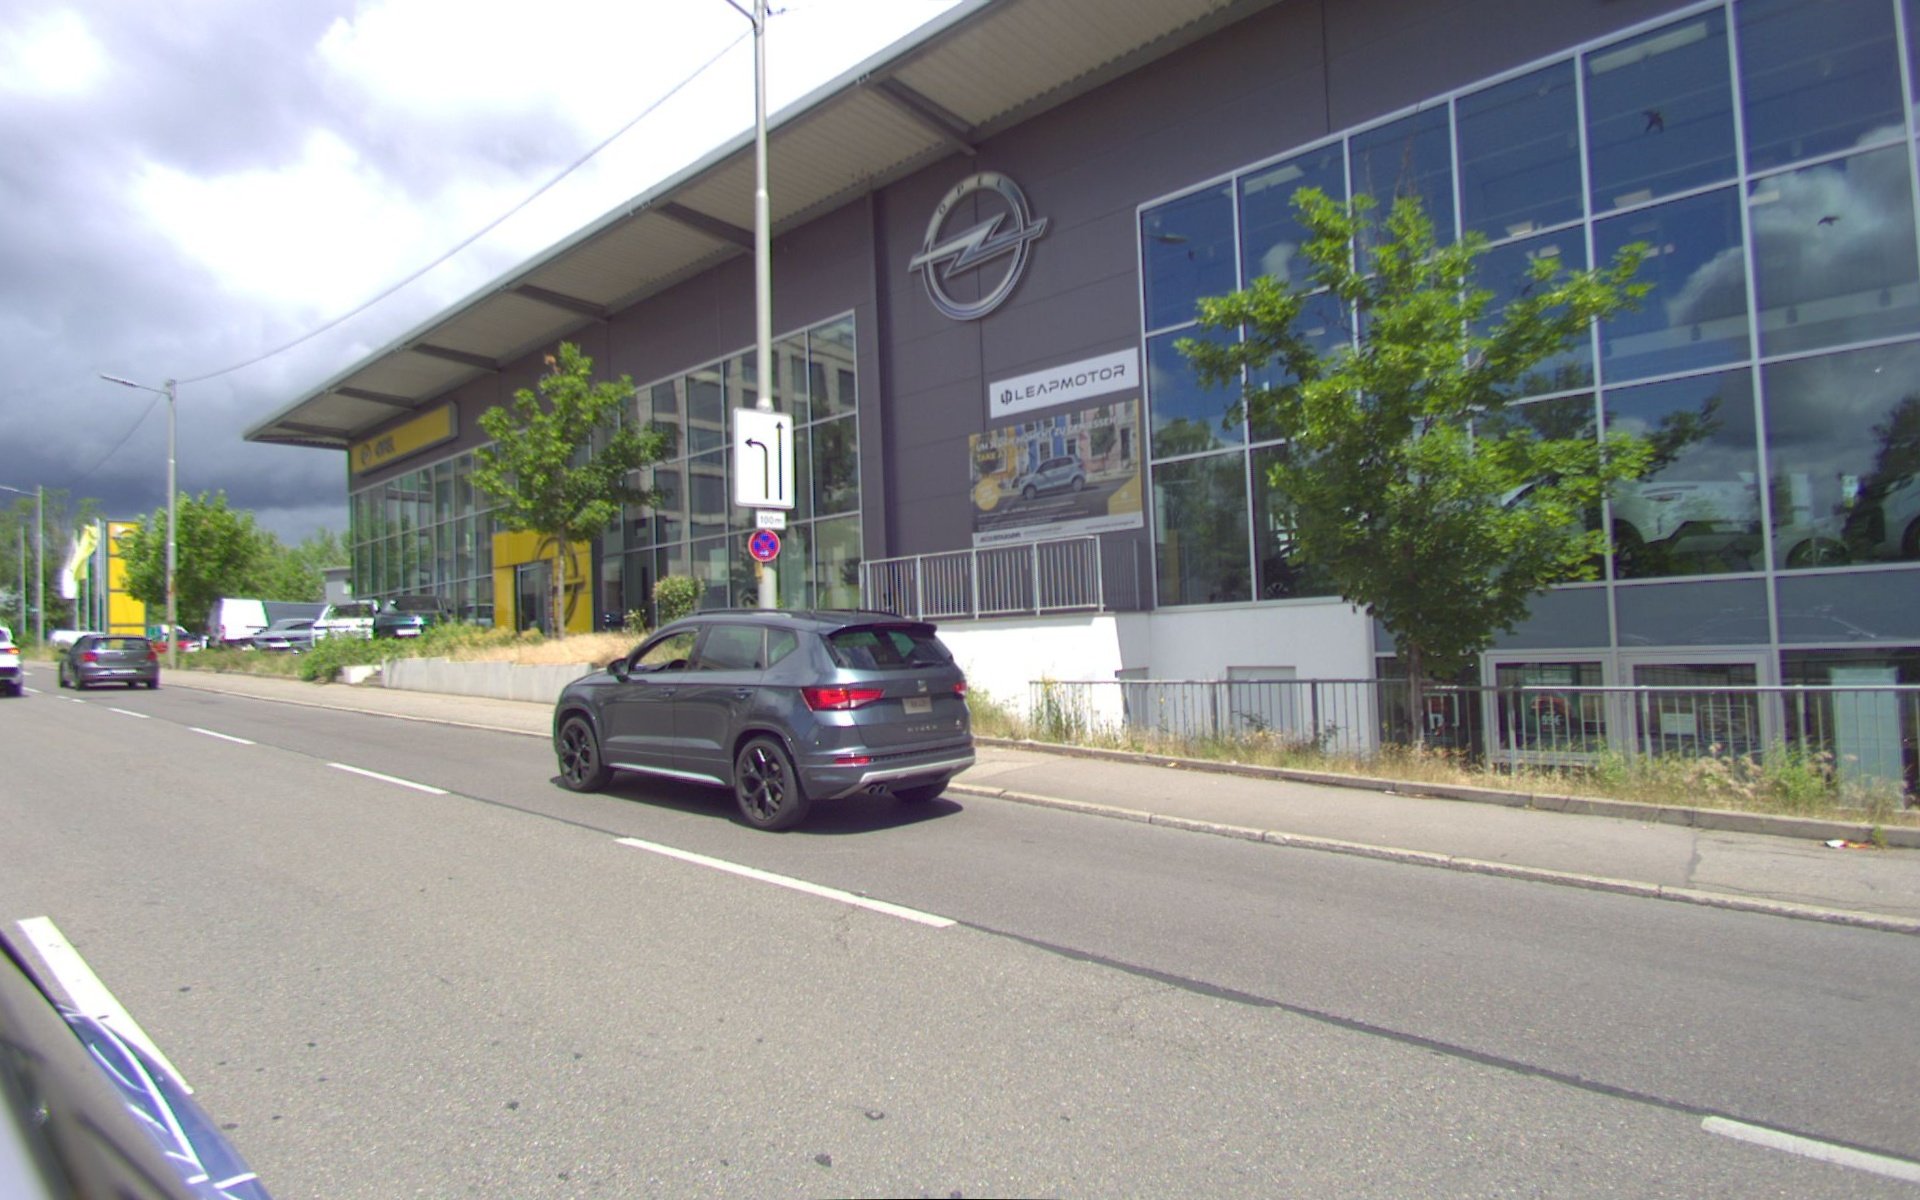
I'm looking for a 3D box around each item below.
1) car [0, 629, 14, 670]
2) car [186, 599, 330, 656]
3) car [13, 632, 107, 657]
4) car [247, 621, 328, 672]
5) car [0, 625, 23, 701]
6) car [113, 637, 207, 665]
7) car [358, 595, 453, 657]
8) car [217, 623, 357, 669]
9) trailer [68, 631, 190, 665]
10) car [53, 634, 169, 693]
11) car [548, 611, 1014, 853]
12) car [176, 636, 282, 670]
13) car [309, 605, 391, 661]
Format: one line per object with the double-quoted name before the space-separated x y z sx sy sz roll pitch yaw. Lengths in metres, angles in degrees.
"car" -46.314 2.327 47.721 5.196 1.874 1.899 -2 -4 41
"car" -28.974 1.116 41.868 2.177 2.211 4.475 -1 -2 39
"car" -57.472 2.820 64.688 2.093 1.493 4.200 -2 -2 38
"car" -23.221 1.579 35.068 1.767 1.625 4.122 1 -2 -26
"car" -22.586 1.407 22.657 4.413 1.625 1.899 -2 -2 41
"car" -41.806 2.644 52.919 1.814 1.420 3.621 -2 -3 42
"car" -15.472 0.743 28.419 1.790 1.625 4.122 0 -2 -21
"car" -25.520 1.719 38.495 1.792 1.625 4.064 -2 -2 32
"trailer" -45.109 2.586 55.033 2.092 1.765 4.776 -2 -2 37
"car" -22.408 1.643 26.664 3.732 1.424 1.740 -2 -4 41
"car" -1.635 0.888 8.400 3.956 1.533 1.740 -2 -2 42
"car" -35.331 2.552 48.998 1.559 1.539 3.897 -2 -2 38
"car" -18.993 1.007 31.669 1.767 1.625 4.122 0 -1 -25
